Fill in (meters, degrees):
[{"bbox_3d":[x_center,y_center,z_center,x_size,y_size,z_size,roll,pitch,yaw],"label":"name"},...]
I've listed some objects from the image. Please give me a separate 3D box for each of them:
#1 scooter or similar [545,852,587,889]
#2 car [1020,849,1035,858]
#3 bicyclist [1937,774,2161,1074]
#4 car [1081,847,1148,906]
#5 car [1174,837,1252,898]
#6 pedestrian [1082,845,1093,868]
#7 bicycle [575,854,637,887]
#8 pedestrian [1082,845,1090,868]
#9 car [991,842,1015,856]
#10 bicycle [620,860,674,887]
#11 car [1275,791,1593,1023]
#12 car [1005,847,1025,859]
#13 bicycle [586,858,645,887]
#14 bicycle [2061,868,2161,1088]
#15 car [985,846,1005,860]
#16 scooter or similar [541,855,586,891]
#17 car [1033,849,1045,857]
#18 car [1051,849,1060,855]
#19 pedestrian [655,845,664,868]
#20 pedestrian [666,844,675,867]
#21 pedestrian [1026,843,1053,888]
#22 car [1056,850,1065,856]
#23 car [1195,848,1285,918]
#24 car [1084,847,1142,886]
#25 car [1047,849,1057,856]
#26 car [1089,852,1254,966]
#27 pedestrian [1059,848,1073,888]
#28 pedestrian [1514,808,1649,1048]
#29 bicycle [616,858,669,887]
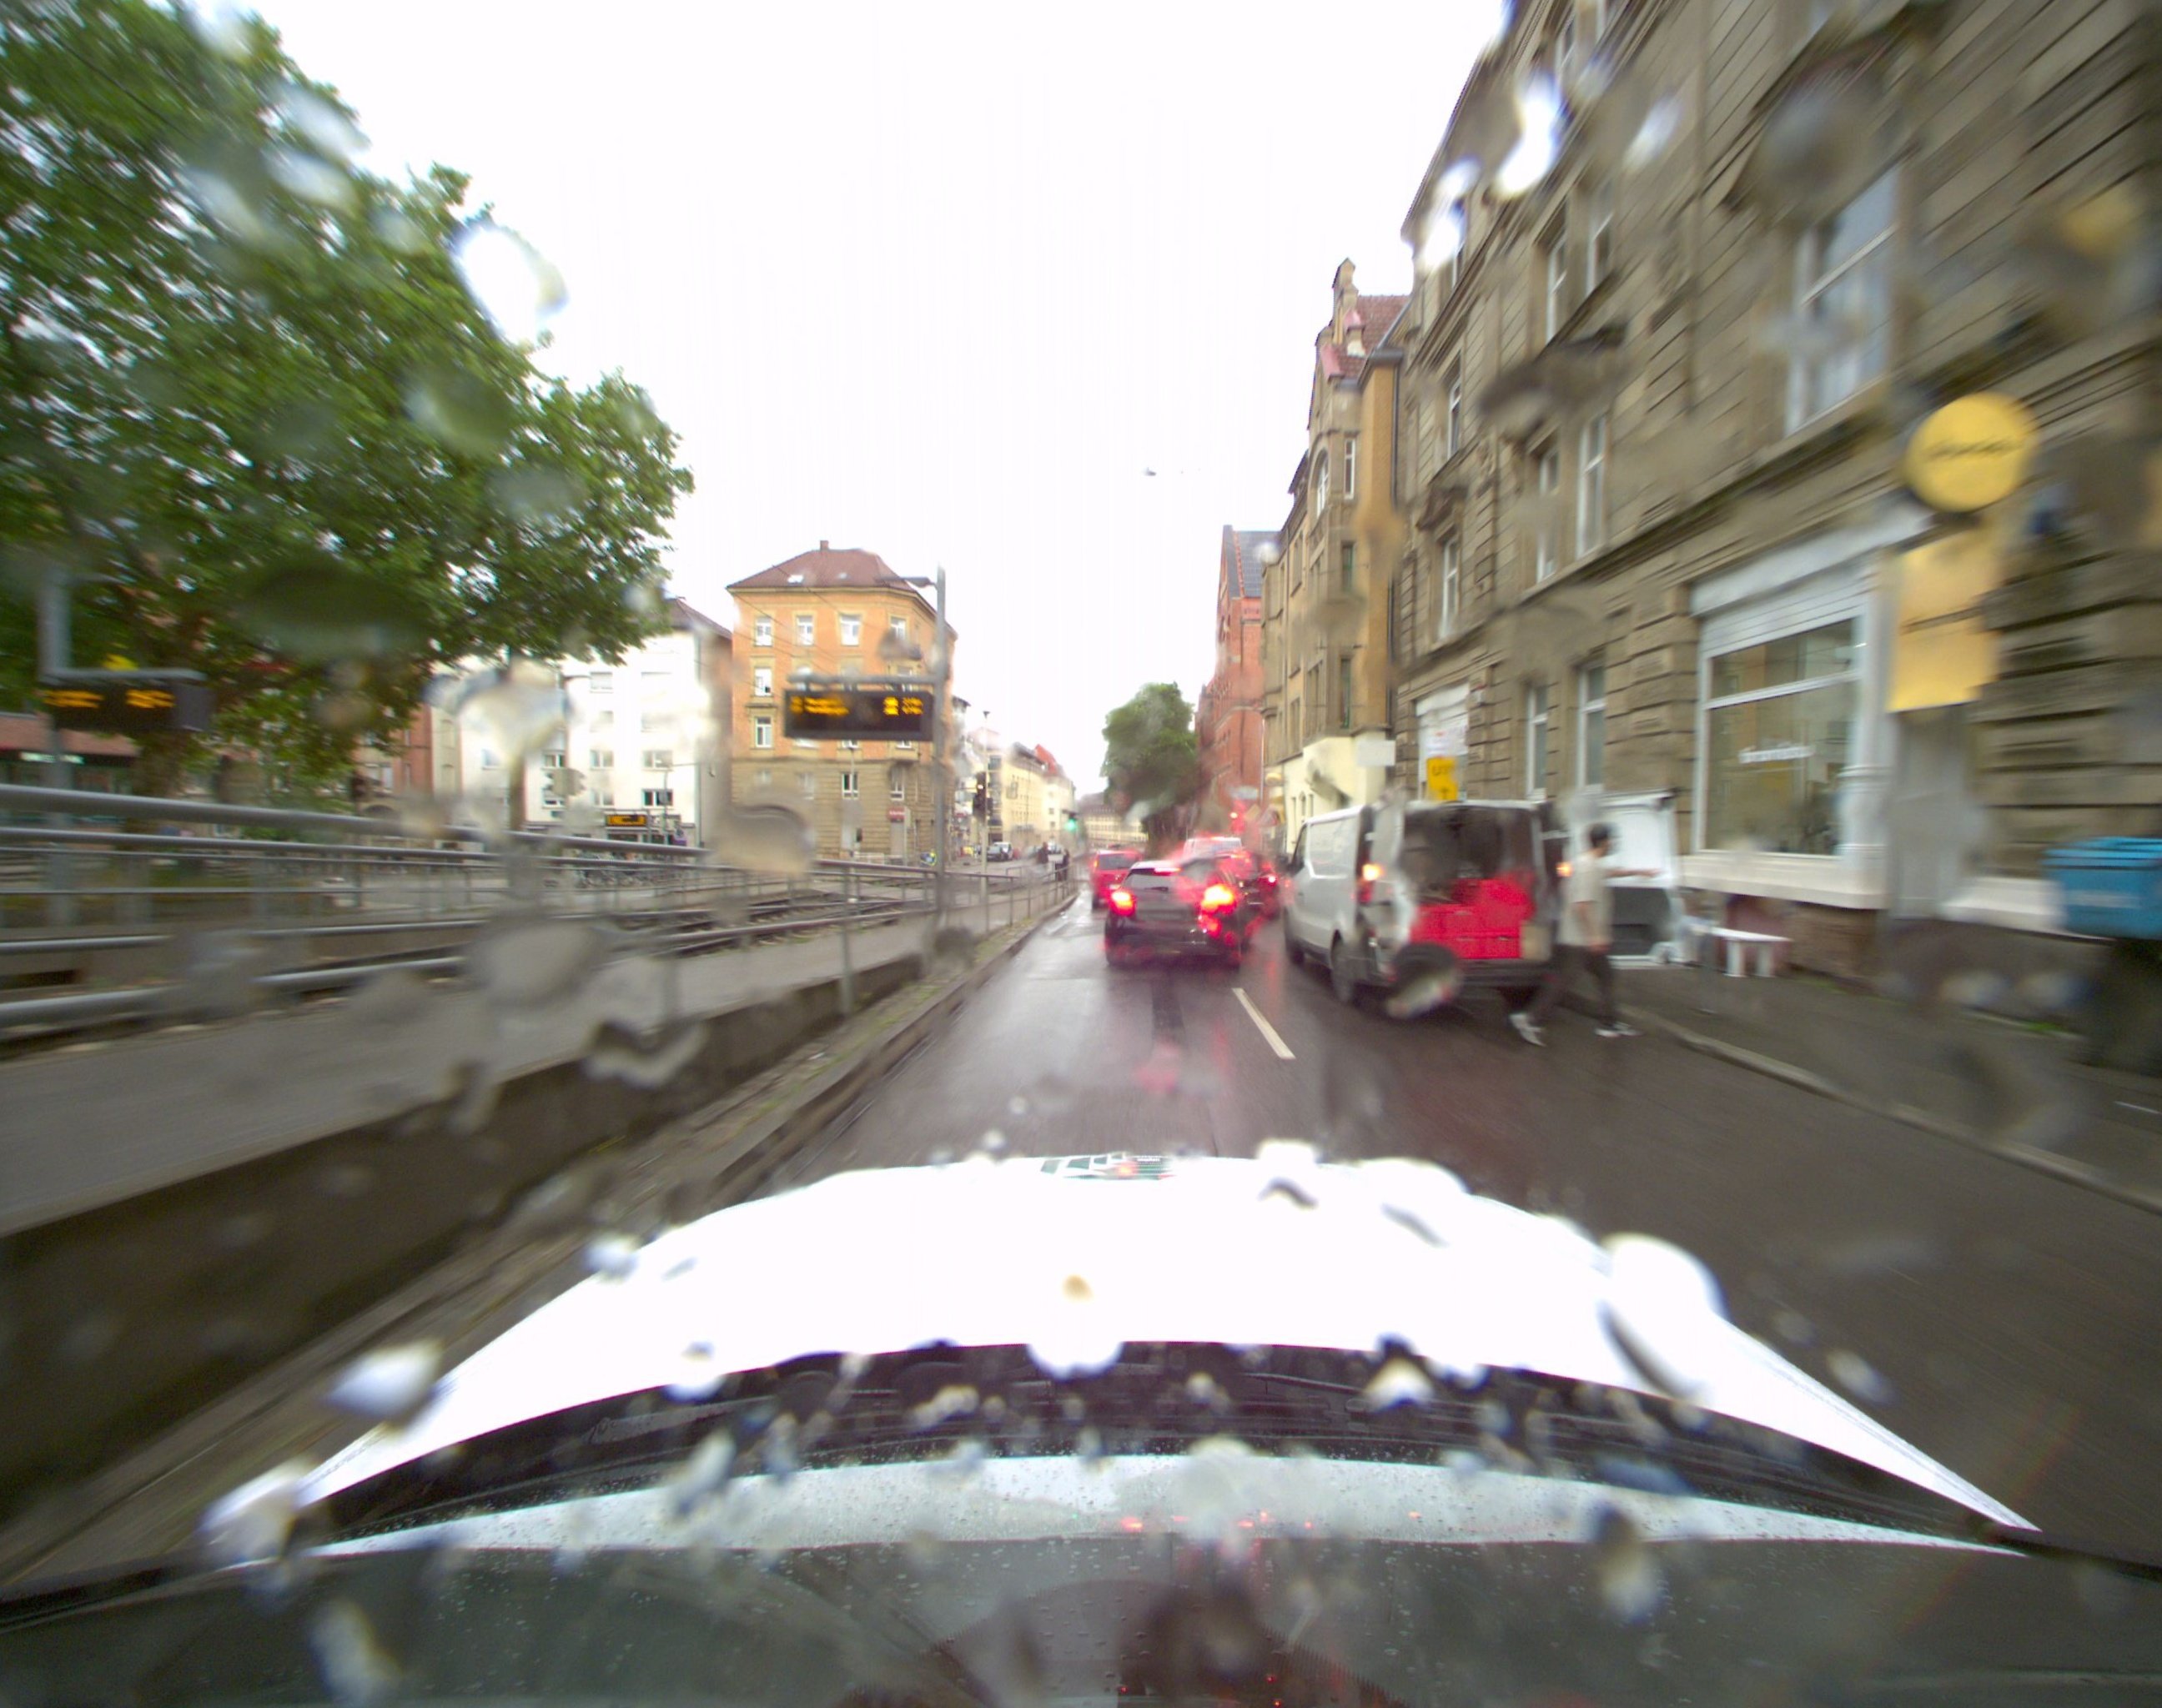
[{"bbox_3d":[-17.329,0.547,27.418,0.357,1.195,1.119,0,0,43],"label":"scooter or similar"},{"bbox_3d":[-6.994,-0.034,106.409,1.430,1.106,3.165,0,0,4],"label":"car"},{"bbox_3d":[5.884,0.381,4.941,0.850,1.657,0.627,-1,-1,-19],"label":"bicyclist"},{"bbox_3d":[0.924,0.557,22.612,1.673,1.489,3.615,-1,0,2],"label":"car"},{"bbox_3d":[4.210,0.379,26.609,1.926,1.831,4.282,0,0,1],"label":"car"},{"bbox_3d":[0.506,0.202,59.480,0.674,1.661,0.678,-1,0,10],"label":"pedestrian"},{"bbox_3d":[-17.146,0.592,29.422,1.869,1.195,0.516,0,0,-8],"label":"bicycle"},{"bbox_3d":[0.384,0.195,60.272,0.515,1.666,0.478,1,0,7],"label":"pedestrian"},{"bbox_3d":[-8.340,-0.519,87.042,1.778,1.530,4.467,0,0,4],"label":"car"},{"bbox_3d":[-17.694,0.783,33.235,1.869,1.065,0.516,0,0,-8],"label":"bicycle"},{"bbox_3d":[3.516,0.436,9.192,1.912,1.936,4.692,0,0,5],"label":"car"},{"bbox_3d":[-7.569,-0.137,93.790,1.672,1.356,3.707,0,0,4],"label":"car"},{"bbox_3d":[-17.378,0.702,30.432,1.869,1.061,0.516,0,0,-8],"label":"bicycle"},{"bbox_3d":[6.377,0.646,4.631,1.689,1.115,0.462,-1,-1,-20],"label":"bicycle"},{"bbox_3d":[-8.491,-0.155,80.654,1.446,1.318,3.298,1,1,3],"label":"car"},{"bbox_3d":[-17.704,0.645,27.884,0.296,1.195,1.259,0,0,43],"label":"scooter or similar"},{"bbox_3d":[-6.161,-0.110,119.596,1.389,1.171,3.165,0,0,4],"label":"car"},{"bbox_3d":[-4.602,-0.381,146.470,1.389,1.171,3.165,0,0,4],"label":"car"},{"bbox_3d":[-29.904,0.166,57.784,0.520,1.622,0.481,0,0,-36],"label":"pedestrian"},{"bbox_3d":[-29.211,0.136,57.900,0.520,1.622,0.481,0,0,-36],"label":"pedestrian"},{"bbox_3d":[-1.606,0.432,31.316,0.745,1.724,0.732,0,0,-40],"label":"pedestrian"},{"bbox_3d":[-3.904,-0.256,154.524,1.389,1.171,3.165,0,0,4],"label":"car"},{"bbox_3d":[3.666,0.594,19.361,1.705,1.469,4.288,0,0,6],"label":"car"},{"bbox_3d":[1.286,0.485,33.404,1.423,1.489,3.144,0,1,-17],"label":"car"},{"bbox_3d":[-4.884,-0.212,137.160,1.389,1.171,3.165,0,0,4],"label":"car"},{"bbox_3d":[1.520,0.668,12.091,1.881,1.390,4.016,0,0,14],"label":"car"},{"bbox_3d":[-0.580,0.522,31.189,0.530,1.530,0.436,0,0,-4],"label":"pedestrian"},{"bbox_3d":[3.974,0.543,6.466,0.825,1.754,0.691,-1,0,36],"label":"pedestrian"},{"bbox_3d":[-17.457,0.731,32.448,1.765,1.142,0.516,0,0,-8],"label":"bicycle"}]
